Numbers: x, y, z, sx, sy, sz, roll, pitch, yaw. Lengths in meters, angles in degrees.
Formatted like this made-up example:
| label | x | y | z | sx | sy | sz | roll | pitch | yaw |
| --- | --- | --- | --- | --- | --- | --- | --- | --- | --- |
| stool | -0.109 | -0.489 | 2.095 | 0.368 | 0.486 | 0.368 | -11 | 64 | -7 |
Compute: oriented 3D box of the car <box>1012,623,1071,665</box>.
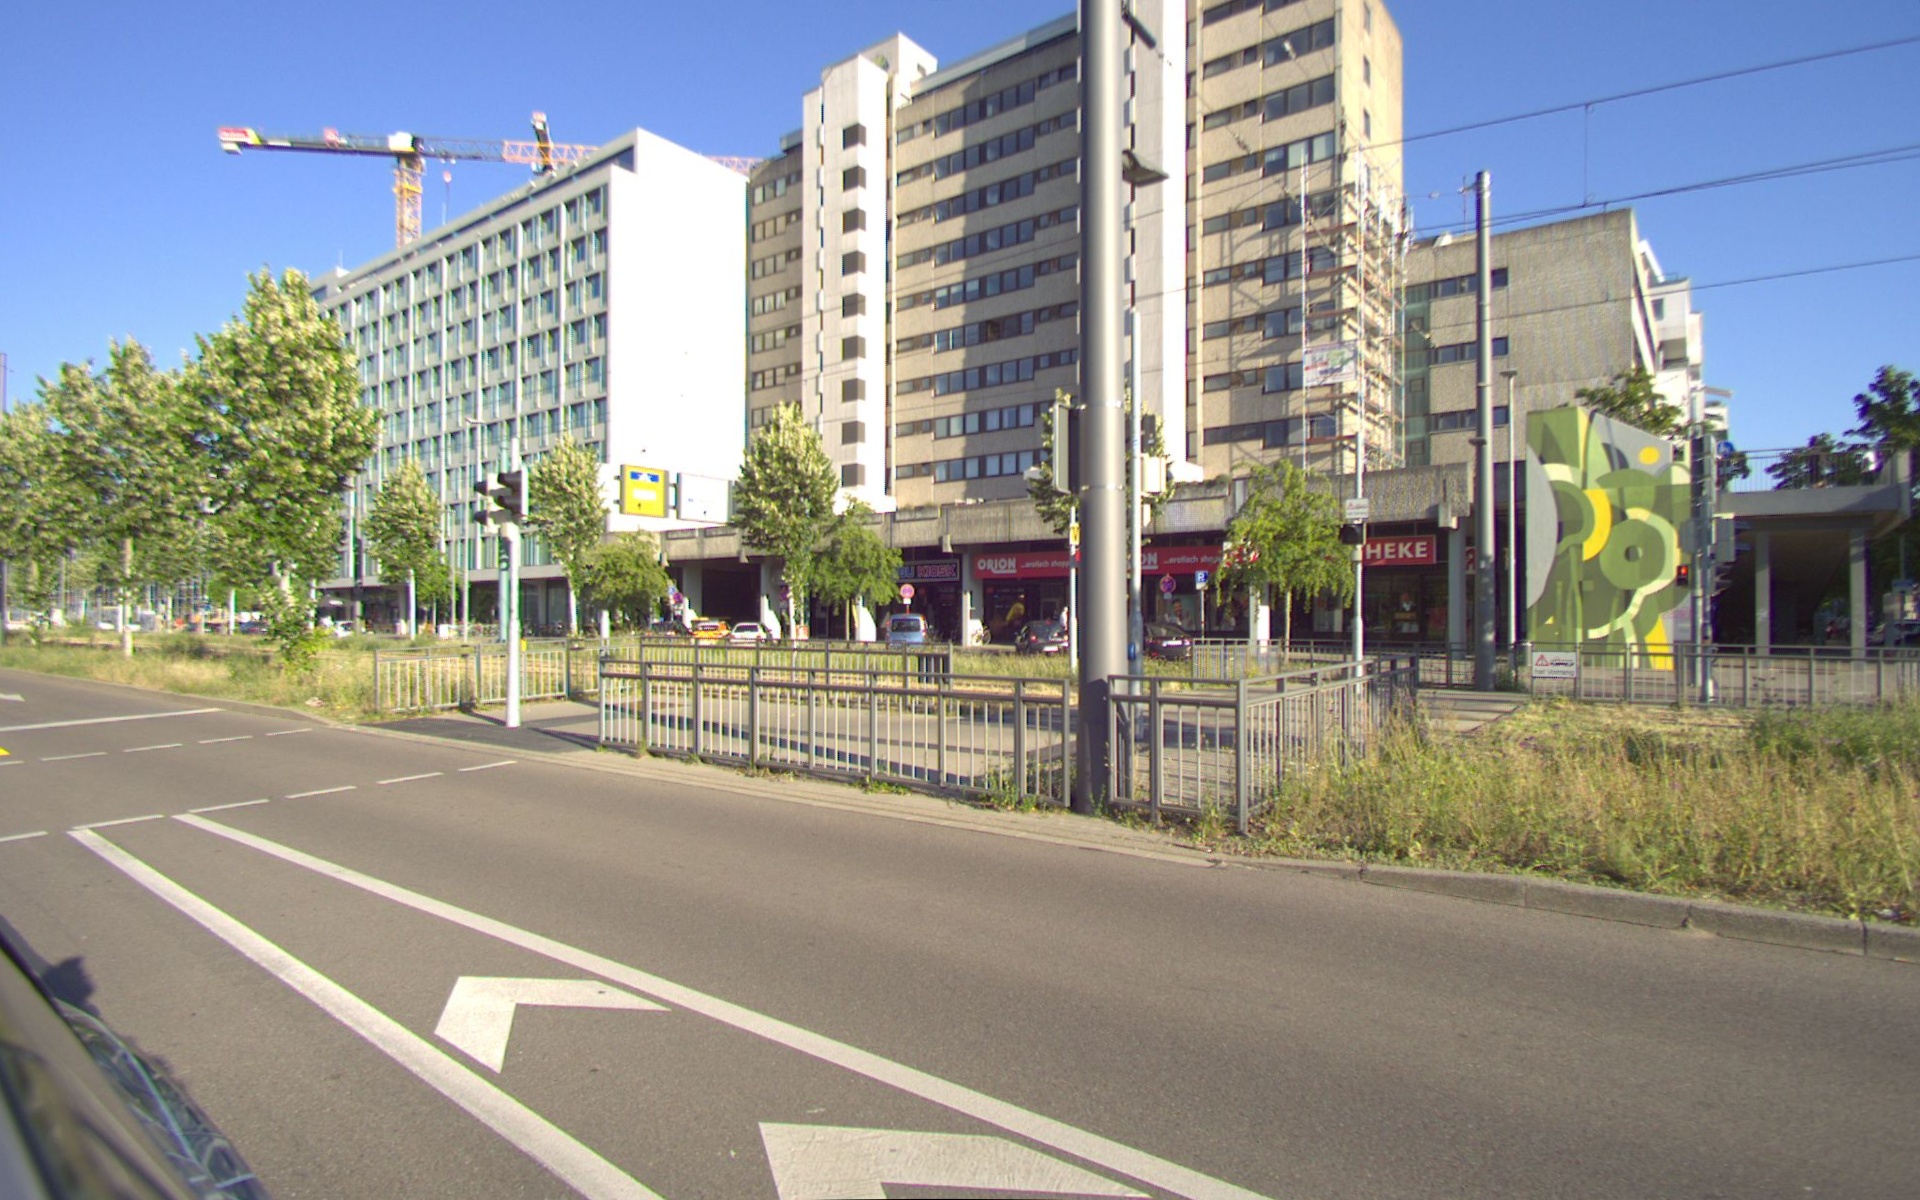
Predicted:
| label | x | y | z | sx | sy | sz | roll | pitch | yaw |
| --- | --- | --- | --- | --- | --- | --- | --- | --- | --- |
| car | 3.136 | 1.673 | 39.440 | 1.596 | 1.412 | 3.472 | -1 | 1 | -6 |

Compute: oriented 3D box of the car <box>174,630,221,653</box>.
| label | x | y | z | sx | sy | sz | roll | pitch | yaw |
| --- | --- | --- | --- | --- | --- | --- | --- | --- | --- |
| car | -61.404 | 3.326 | 81.475 | 4.482 | 1.715 | 1.852 | 0 | 1 | 38 |

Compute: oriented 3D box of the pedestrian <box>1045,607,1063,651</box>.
| label | x | y | z | sx | sy | sz | roll | pitch | yaw |
| --- | --- | --- | --- | --- | --- | --- | --- | --- | --- |
| pedestrian | 4.376 | 1.355 | 47.149 | 0.653 | 2.029 | 0.542 | -1 | -2 | 37 |

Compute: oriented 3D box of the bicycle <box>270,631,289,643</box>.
| label | x | y | z | sx | sy | sz | roll | pitch | yaw |
| --- | --- | --- | --- | --- | --- | --- | --- | --- | --- |
| bicycle | -51.206 | 2.805 | 76.148 | 2.098 | 0.869 | 0.432 | -1 | -2 | 36 |

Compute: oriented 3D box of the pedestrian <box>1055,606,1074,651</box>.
| label | x | y | z | sx | sy | sz | roll | pitch | yaw |
| --- | --- | --- | --- | --- | --- | --- | --- | --- | --- |
| pedestrian | 4.692 | 1.273 | 45.366 | 0.653 | 2.029 | 0.542 | -1 | -2 | 37 |

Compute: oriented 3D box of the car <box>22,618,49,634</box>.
| label | x | y | z | sx | sy | sz | roll | pitch | yaw |
| --- | --- | --- | --- | --- | --- | --- | --- | --- | --- |
| car | -114.305 | 3.201 | 125.129 | 3.787 | 1.765 | 1.852 | 0 | 1 | 38 |

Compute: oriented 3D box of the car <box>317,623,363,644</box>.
| label | x | y | z | sx | sy | sz | roll | pitch | yaw |
| --- | --- | --- | --- | --- | --- | --- | --- | --- | --- |
| car | -46.633 | 2.503 | 76.095 | 3.384 | 1.477 | 1.852 | 0 | 1 | 38 |

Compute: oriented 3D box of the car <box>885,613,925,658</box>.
| label | x | y | z | sx | sy | sz | roll | pitch | yaw |
| --- | --- | --- | --- | --- | --- | --- | --- | --- | --- |
| car | -2.359 | 1.450 | 43.049 | 1.597 | 1.703 | 4.200 | -1 | 1 | -4 |

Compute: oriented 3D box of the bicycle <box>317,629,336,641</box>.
| label | x | y | z | sx | sy | sz | roll | pitch | yaw |
| --- | --- | --- | --- | --- | --- | --- | --- | --- | --- |
| bicycle | -45.854 | 2.512 | 73.249 | 2.098 | 0.869 | 0.432 | -1 | -2 | 36 |

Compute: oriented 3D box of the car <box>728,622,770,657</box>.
| label | x | y | z | sx | sy | sz | roll | pitch | yaw |
| --- | --- | --- | --- | --- | --- | --- | --- | --- | --- |
| car | -10.210 | 1.895 | 49.173 | 1.596 | 1.455 | 3.798 | -1 | 1 | -6 |

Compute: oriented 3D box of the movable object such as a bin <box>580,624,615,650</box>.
| label | x | y | z | sx | sy | sz | roll | pitch | yaw |
| --- | --- | --- | --- | --- | --- | --- | --- | --- | --- |
| movable object such as a bin | -19.866 | 2.002 | 55.491 | 1.169 | 1.382 | 1.373 | -1 | -2 | 36 |

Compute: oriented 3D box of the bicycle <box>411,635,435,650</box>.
| label | x | y | z | sx | sy | sz | roll | pitch | yaw |
| --- | --- | --- | --- | --- | --- | --- | --- | --- | --- |
| bicycle | -33.686 | 2.660 | 63.463 | 2.098 | 0.869 | 0.432 | -1 | -2 | 36 |

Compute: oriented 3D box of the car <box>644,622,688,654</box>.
| label | x | y | z | sx | sy | sz | roll | pitch | yaw |
| --- | --- | --- | --- | --- | --- | --- | --- | --- | --- |
| car | -15.331 | 1.949 | 52.944 | 1.595 | 1.455 | 4.555 | -1 | 1 | -8 |

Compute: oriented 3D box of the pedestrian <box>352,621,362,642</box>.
| label | x | y | z | sx | sy | sz | roll | pitch | yaw |
| --- | --- | --- | --- | --- | --- | --- | --- | --- | --- |
| pedestrian | -48.521 | 2.531 | 81.474 | 0.596 | 1.648 | 0.473 | -1 | -2 | 38 |

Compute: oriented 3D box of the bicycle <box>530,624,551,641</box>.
| label | x | y | z | sx | sy | sz | roll | pitch | yaw |
| --- | --- | --- | --- | --- | --- | --- | --- | --- | --- |
| bicycle | -30.193 | 2.347 | 72.901 | 1.712 | 1.239 | 0.391 | -1 | -2 | 28 |

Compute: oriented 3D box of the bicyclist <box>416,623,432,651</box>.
| label | x | y | z | sx | sy | sz | roll | pitch | yaw |
| --- | --- | --- | --- | --- | --- | --- | --- | --- | --- |
| bicyclist | -33.603 | 2.294 | 63.434 | 0.917 | 1.758 | 0.552 | -1 | -2 | 36 |

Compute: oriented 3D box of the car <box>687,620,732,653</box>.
| label | x | y | z | sx | sy | sz | roll | pitch | yaw |
| --- | --- | --- | --- | --- | --- | --- | --- | --- | --- |
| car | -12.528 | 1.800 | 50.743 | 1.761 | 1.455 | 3.808 | -1 | 1 | -8 |

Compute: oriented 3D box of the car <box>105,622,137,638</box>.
| label | x | y | z | sx | sy | sz | roll | pitch | yaw |
| --- | --- | --- | --- | --- | --- | --- | --- | --- | --- |
| car | -80.871 | 2.851 | 97.535 | 3.874 | 1.388 | 1.594 | 0 | 1 | 38 |

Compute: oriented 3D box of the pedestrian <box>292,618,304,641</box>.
| label | x | y | z | sx | sy | sz | roll | pitch | yaw |
| --- | --- | --- | --- | --- | --- | --- | --- | --- | --- |
| pedestrian | -57.003 | 2.549 | 87.173 | 0.725 | 2.029 | 0.614 | -1 | -2 | 38 |

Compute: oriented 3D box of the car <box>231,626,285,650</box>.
| label | x | y | z | sx | sy | sz | roll | pitch | yaw |
| --- | --- | --- | --- | --- | --- | --- | --- | --- | --- |
| car | -50.335 | 2.701 | 72.542 | 4.632 | 1.600 | 1.852 | 0 | 1 | 38 |

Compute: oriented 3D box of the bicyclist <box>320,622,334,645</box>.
| label | x | y | z | sx | sy | sz | roll | pitch | yaw |
| --- | --- | --- | --- | --- | --- | --- | --- | --- | --- |
| bicyclist | -45.823 | 2.445 | 73.224 | 0.917 | 1.669 | 0.533 | -1 | -2 | 36 |

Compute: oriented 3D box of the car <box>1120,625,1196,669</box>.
| label | x | y | z | sx | sy | sz | roll | pitch | yaw |
| --- | --- | --- | --- | --- | --- | --- | --- | --- | --- |
| car | 6.791 | 1.574 | 35.037 | 1.596 | 1.283 | 3.472 | -1 | 1 | -6 |

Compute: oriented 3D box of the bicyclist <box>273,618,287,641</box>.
| label | x | y | z | sx | sy | sz | roll | pitch | yaw |
| --- | --- | --- | --- | --- | --- | --- | --- | --- | --- |
| bicyclist | -51.126 | 2.227 | 76.072 | 0.917 | 1.669 | 0.533 | -1 | -2 | 36 |

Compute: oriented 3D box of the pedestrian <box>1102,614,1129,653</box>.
| label | x | y | z | sx | sy | sz | roll | pitch | yaw |
| --- | --- | --- | --- | --- | --- | --- | --- | --- | --- |
| pedestrian | 6.529 | 1.398 | 42.538 | 0.881 | 1.652 | 0.767 | -1 | -1 | 36 |

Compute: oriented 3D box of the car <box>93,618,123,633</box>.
| label | x | y | z | sx | sy | sz | roll | pitch | yaw |
| --- | --- | --- | --- | --- | --- | --- | --- | --- | --- |
| car | -96.489 | 2.872 | 114.602 | 3.477 | 1.603 | 1.852 | 0 | 1 | 38 |
